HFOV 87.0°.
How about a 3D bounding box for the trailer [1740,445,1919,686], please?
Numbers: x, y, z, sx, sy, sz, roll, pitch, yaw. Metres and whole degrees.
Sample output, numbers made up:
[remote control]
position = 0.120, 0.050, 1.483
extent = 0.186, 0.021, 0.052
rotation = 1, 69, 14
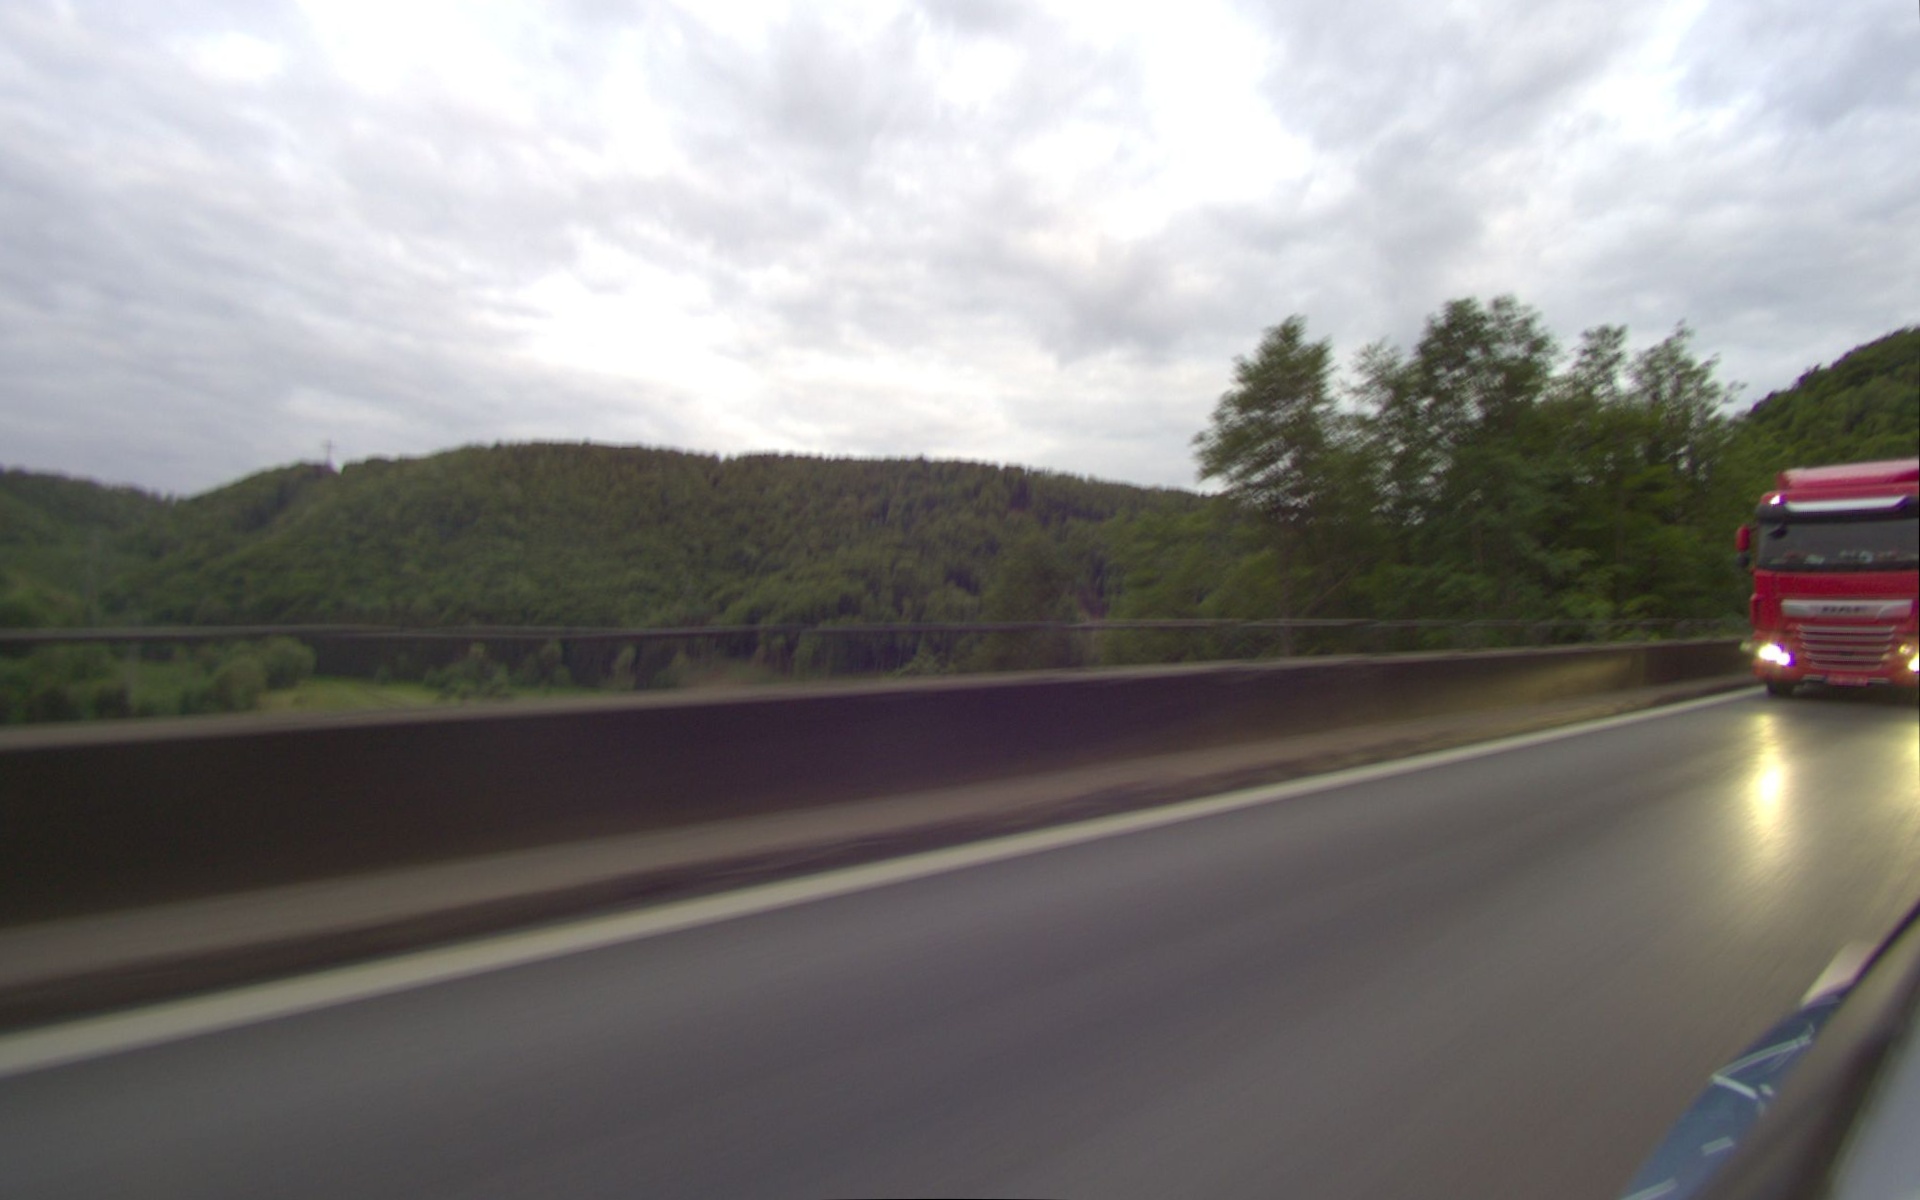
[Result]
[trailer]
position = 20.756, -0.486, 22.023
extent = 13.965, 4.021, 3.102
rotation = 1, -2, -41

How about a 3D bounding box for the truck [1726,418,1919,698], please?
[truck]
position = 16.240, -0.639, 17.879
extent = 6.333, 4.197, 3.075
rotation = 0, 0, -41
